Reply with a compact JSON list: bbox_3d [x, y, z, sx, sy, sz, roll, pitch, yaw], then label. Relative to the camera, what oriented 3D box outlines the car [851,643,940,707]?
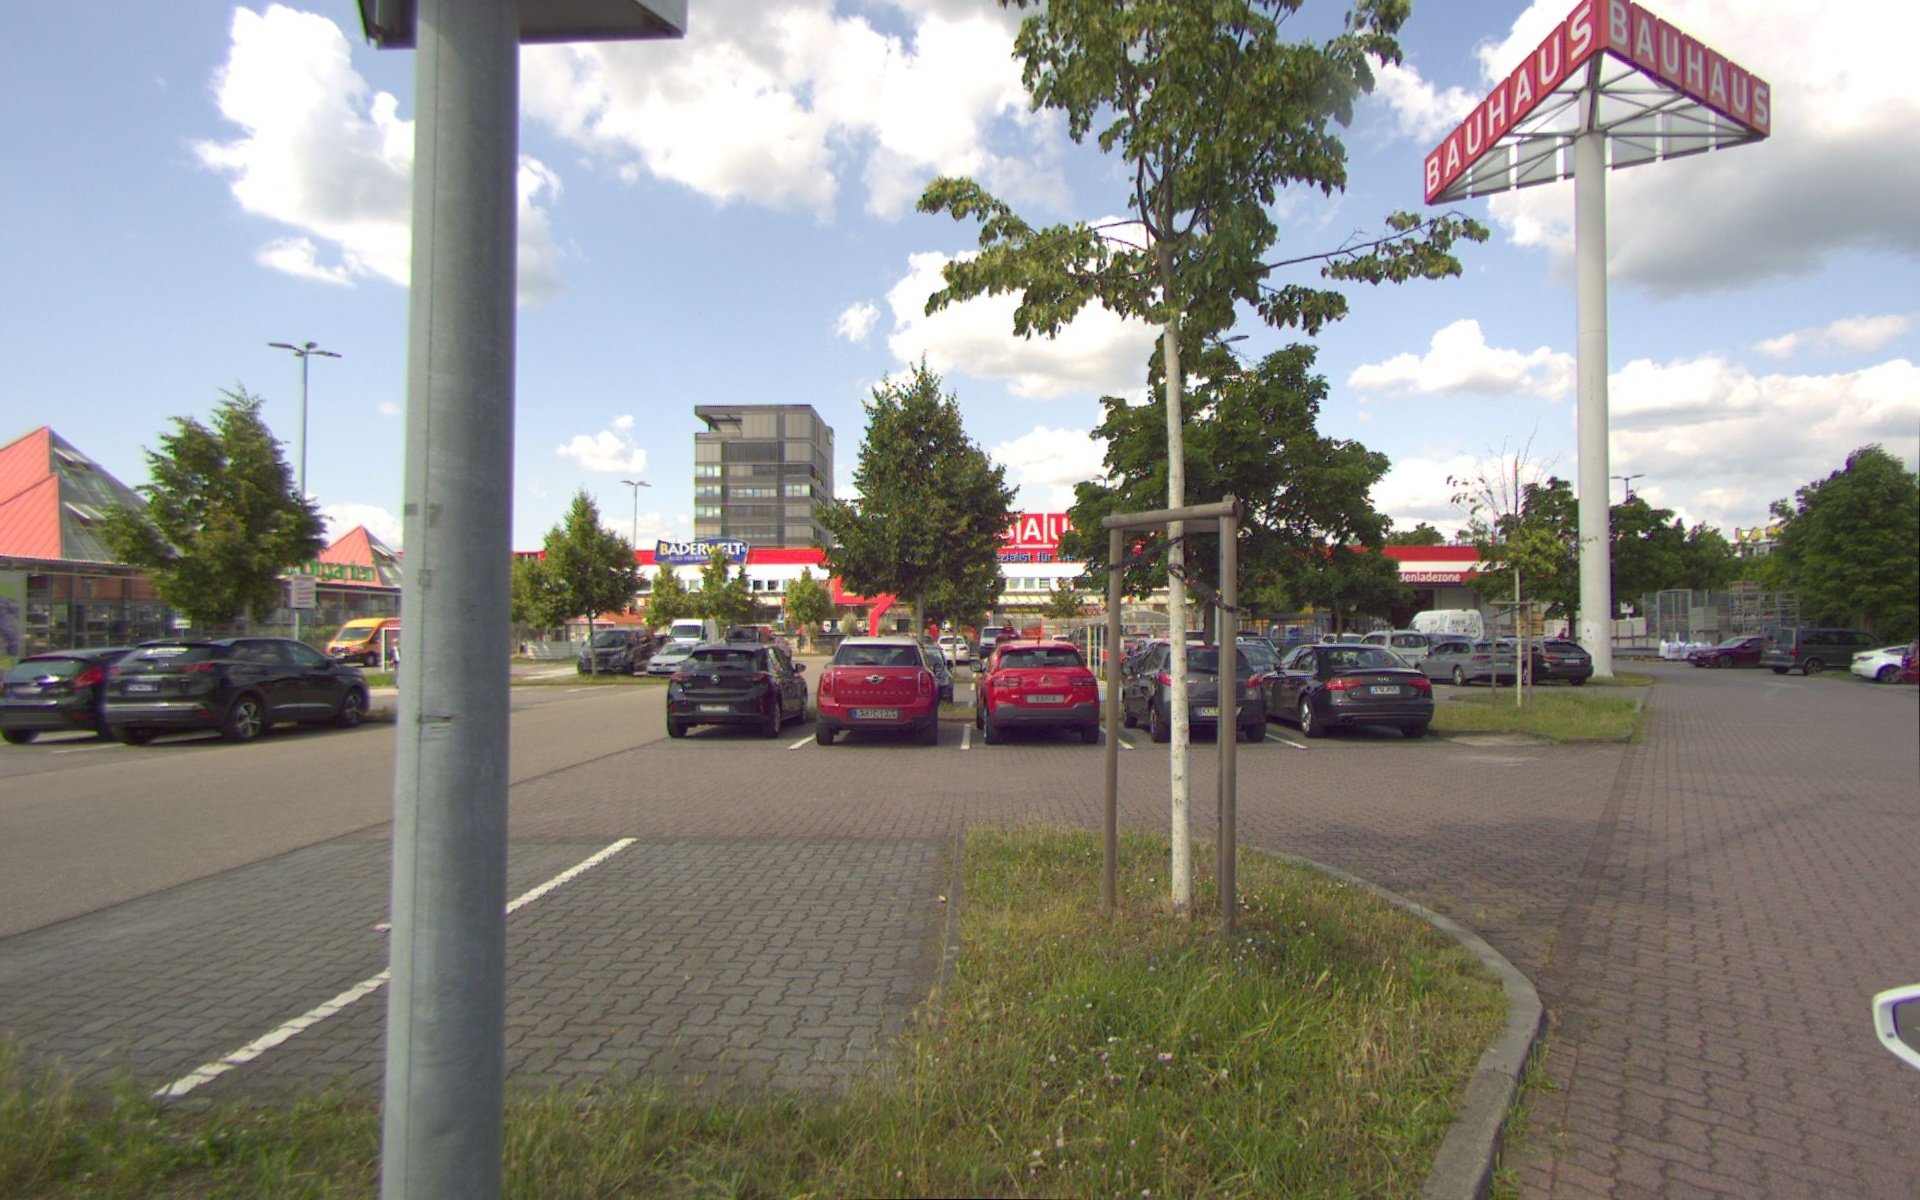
[{"bbox_3d":[-1.449,1.728,23.959,1.788,1.300,3.893,3,-2,0],"label":"car"}]

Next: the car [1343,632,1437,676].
[{"bbox_3d":[16.618,2.058,39.025,1.873,1.617,4.001,0,-2,-1],"label":"car"}]

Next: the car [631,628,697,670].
[{"bbox_3d":[-14.861,2.448,50.665,1.960,2.040,4.002,0,-2,3],"label":"car"}]

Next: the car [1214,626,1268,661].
[{"bbox_3d":[14.116,2.162,50.652,1.730,1.545,3.469,-1,1,0],"label":"car"}]

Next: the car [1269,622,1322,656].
[{"bbox_3d":[21.752,2.538,65.299,1.961,2.040,4.000,3,-2,-2],"label":"car"}]

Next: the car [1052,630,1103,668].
[{"bbox_3d":[5.820,2.422,50.283,1.961,1.802,4.000,0,-2,-2],"label":"car"}]

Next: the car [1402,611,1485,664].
[{"bbox_3d":[24.377,1.868,50.882,2.012,2.543,4.730,1,-1,1],"label":"car"}]

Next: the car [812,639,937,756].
[{"bbox_3d":[-1.217,1.404,15.536,1.676,1.602,3.447,0,-2,-1],"label":"car"}]

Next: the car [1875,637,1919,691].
[{"bbox_3d":[30.342,1.900,29.930,4.248,1.617,1.994,-2,-2,34],"label":"car"}]

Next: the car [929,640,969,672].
[{"bbox_3d":[-0.560,2.810,51.050,1.961,1.528,4.001,0,-2,-1],"label":"car"}]

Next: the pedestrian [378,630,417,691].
[{"bbox_3d":[-19.032,2.029,34.007,0.801,2.040,0.915,0,-2,-1],"label":"pedestrian"}]

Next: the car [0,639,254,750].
[{"bbox_3d":[-13.978,1.491,16.902,1.749,1.646,3.705,0,-2,-4],"label":"car"}]

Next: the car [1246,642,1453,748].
[{"bbox_3d":[6.090,1.424,16.321,1.736,1.451,4.545,0,-2,2],"label":"car"}]

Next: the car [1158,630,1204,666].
[{"bbox_3d":[11.208,2.434,51.134,1.570,1.766,3.168,-1,-2,0],"label":"car"}]

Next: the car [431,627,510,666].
[{"bbox_3d":[-27.761,2.645,57.106,1.960,2.040,4.809,3,-2,1],"label":"car"}]

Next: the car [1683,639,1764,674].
[{"bbox_3d":[35.428,2.625,46.649,2.635,1.450,1.356,3,-2,9],"label":"car"}]

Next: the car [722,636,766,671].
[{"bbox_3d":[-10.806,2.676,50.357,1.664,1.635,2.656,3,-2,-4],"label":"car"}]

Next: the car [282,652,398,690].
[{"bbox_3d":[-21.929,2.508,35.649,1.517,1.235,3.269,-3,-5,21],"label":"car"}]

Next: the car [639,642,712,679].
[{"bbox_3d":[-11.202,2.361,39.810,1.708,1.404,3.563,0,-2,3],"label":"car"}]

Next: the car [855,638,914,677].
[{"bbox_3d":[-2.954,2.262,40.180,1.960,1.487,4.417,0,-2,0],"label":"car"}]

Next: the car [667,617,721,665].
[{"bbox_3d":[-15.555,2.396,58.870,2.196,2.670,4.328,1,-2,-4],"label":"car"}]

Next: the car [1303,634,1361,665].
[{"bbox_3d":[18.557,2.478,50.237,1.512,1.423,3.626,3,-2,0],"label":"car"}]

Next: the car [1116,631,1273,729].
[{"bbox_3d":[3.636,1.210,16.238,1.548,1.387,4.001,0,-2,-1],"label":"car"}]

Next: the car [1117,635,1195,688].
[{"bbox_3d":[6.403,1.998,33.174,1.718,1.636,3.724,0,-2,-2],"label":"car"}]

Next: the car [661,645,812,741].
[{"bbox_3d":[-3.600,1.458,16.833,1.695,1.387,3.884,0,-2,-1],"label":"car"}]

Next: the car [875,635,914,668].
[{"bbox_3d":[-3.247,2.566,50.146,1.694,1.528,3.237,3,-2,-1],"label":"car"}]

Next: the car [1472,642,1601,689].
[{"bbox_3d":[19.070,2.131,33.469,1.792,1.458,4.090,0,-2,-3],"label":"car"}]

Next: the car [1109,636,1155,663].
[{"bbox_3d":[9.411,2.714,55.107,1.709,1.357,3.465,3,-2,-4],"label":"car"}]

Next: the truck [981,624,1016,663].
[{"bbox_3d":[2.272,2.523,57.730,1.823,2.040,5.411,3,-2,3],"label":"truck"}]

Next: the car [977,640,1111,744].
[{"bbox_3d":[1.205,1.357,16.001,1.732,1.417,4.089,0,-2,-1],"label":"car"}]

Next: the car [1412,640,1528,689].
[{"bbox_3d":[16.508,2.061,32.717,1.692,1.465,3.773,0,-2,-3],"label":"car"}]

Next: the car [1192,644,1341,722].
[{"bbox_3d":[6.275,1.659,21.049,1.758,1.369,4.067,3,-2,-1],"label":"car"}]

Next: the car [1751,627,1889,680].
[{"bbox_3d":[35.799,2.240,41.931,3.975,2.045,1.949,1,-2,6],"label":"car"}]

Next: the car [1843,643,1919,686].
[{"bbox_3d":[34.352,2.332,36.215,3.585,1.487,1.629,-1,-4,36],"label":"car"}]

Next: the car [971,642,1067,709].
[{"bbox_3d":[1.249,1.664,23.092,1.857,1.370,4.282,0,-2,-1],"label":"car"}]

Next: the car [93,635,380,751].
[{"bbox_3d":[-11.540,1.412,16.436,1.748,1.646,4.085,0,-2,0],"label":"car"}]

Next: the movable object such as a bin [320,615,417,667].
[{"bbox_3d":[-30.464,2.113,51.968,2.089,2.526,5.335,0,-2,-4],"label":"movable object such as a bin"}]

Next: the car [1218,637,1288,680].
[{"bbox_3d":[11.676,2.293,40.250,1.686,1.617,4.002,0,-2,1],"label":"car"}]

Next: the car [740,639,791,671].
[{"bbox_3d":[-10.872,3.057,56.445,1.961,1.652,4.001,3,-2,1],"label":"car"}]

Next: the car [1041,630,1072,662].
[{"bbox_3d":[6.626,3.139,68.592,1.960,2.040,4.003,3,-2,6],"label":"car"}]

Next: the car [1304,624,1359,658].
[{"bbox_3d":[24.289,2.687,65.834,1.961,2.040,4.000,3,-2,-2],"label":"car"}]
